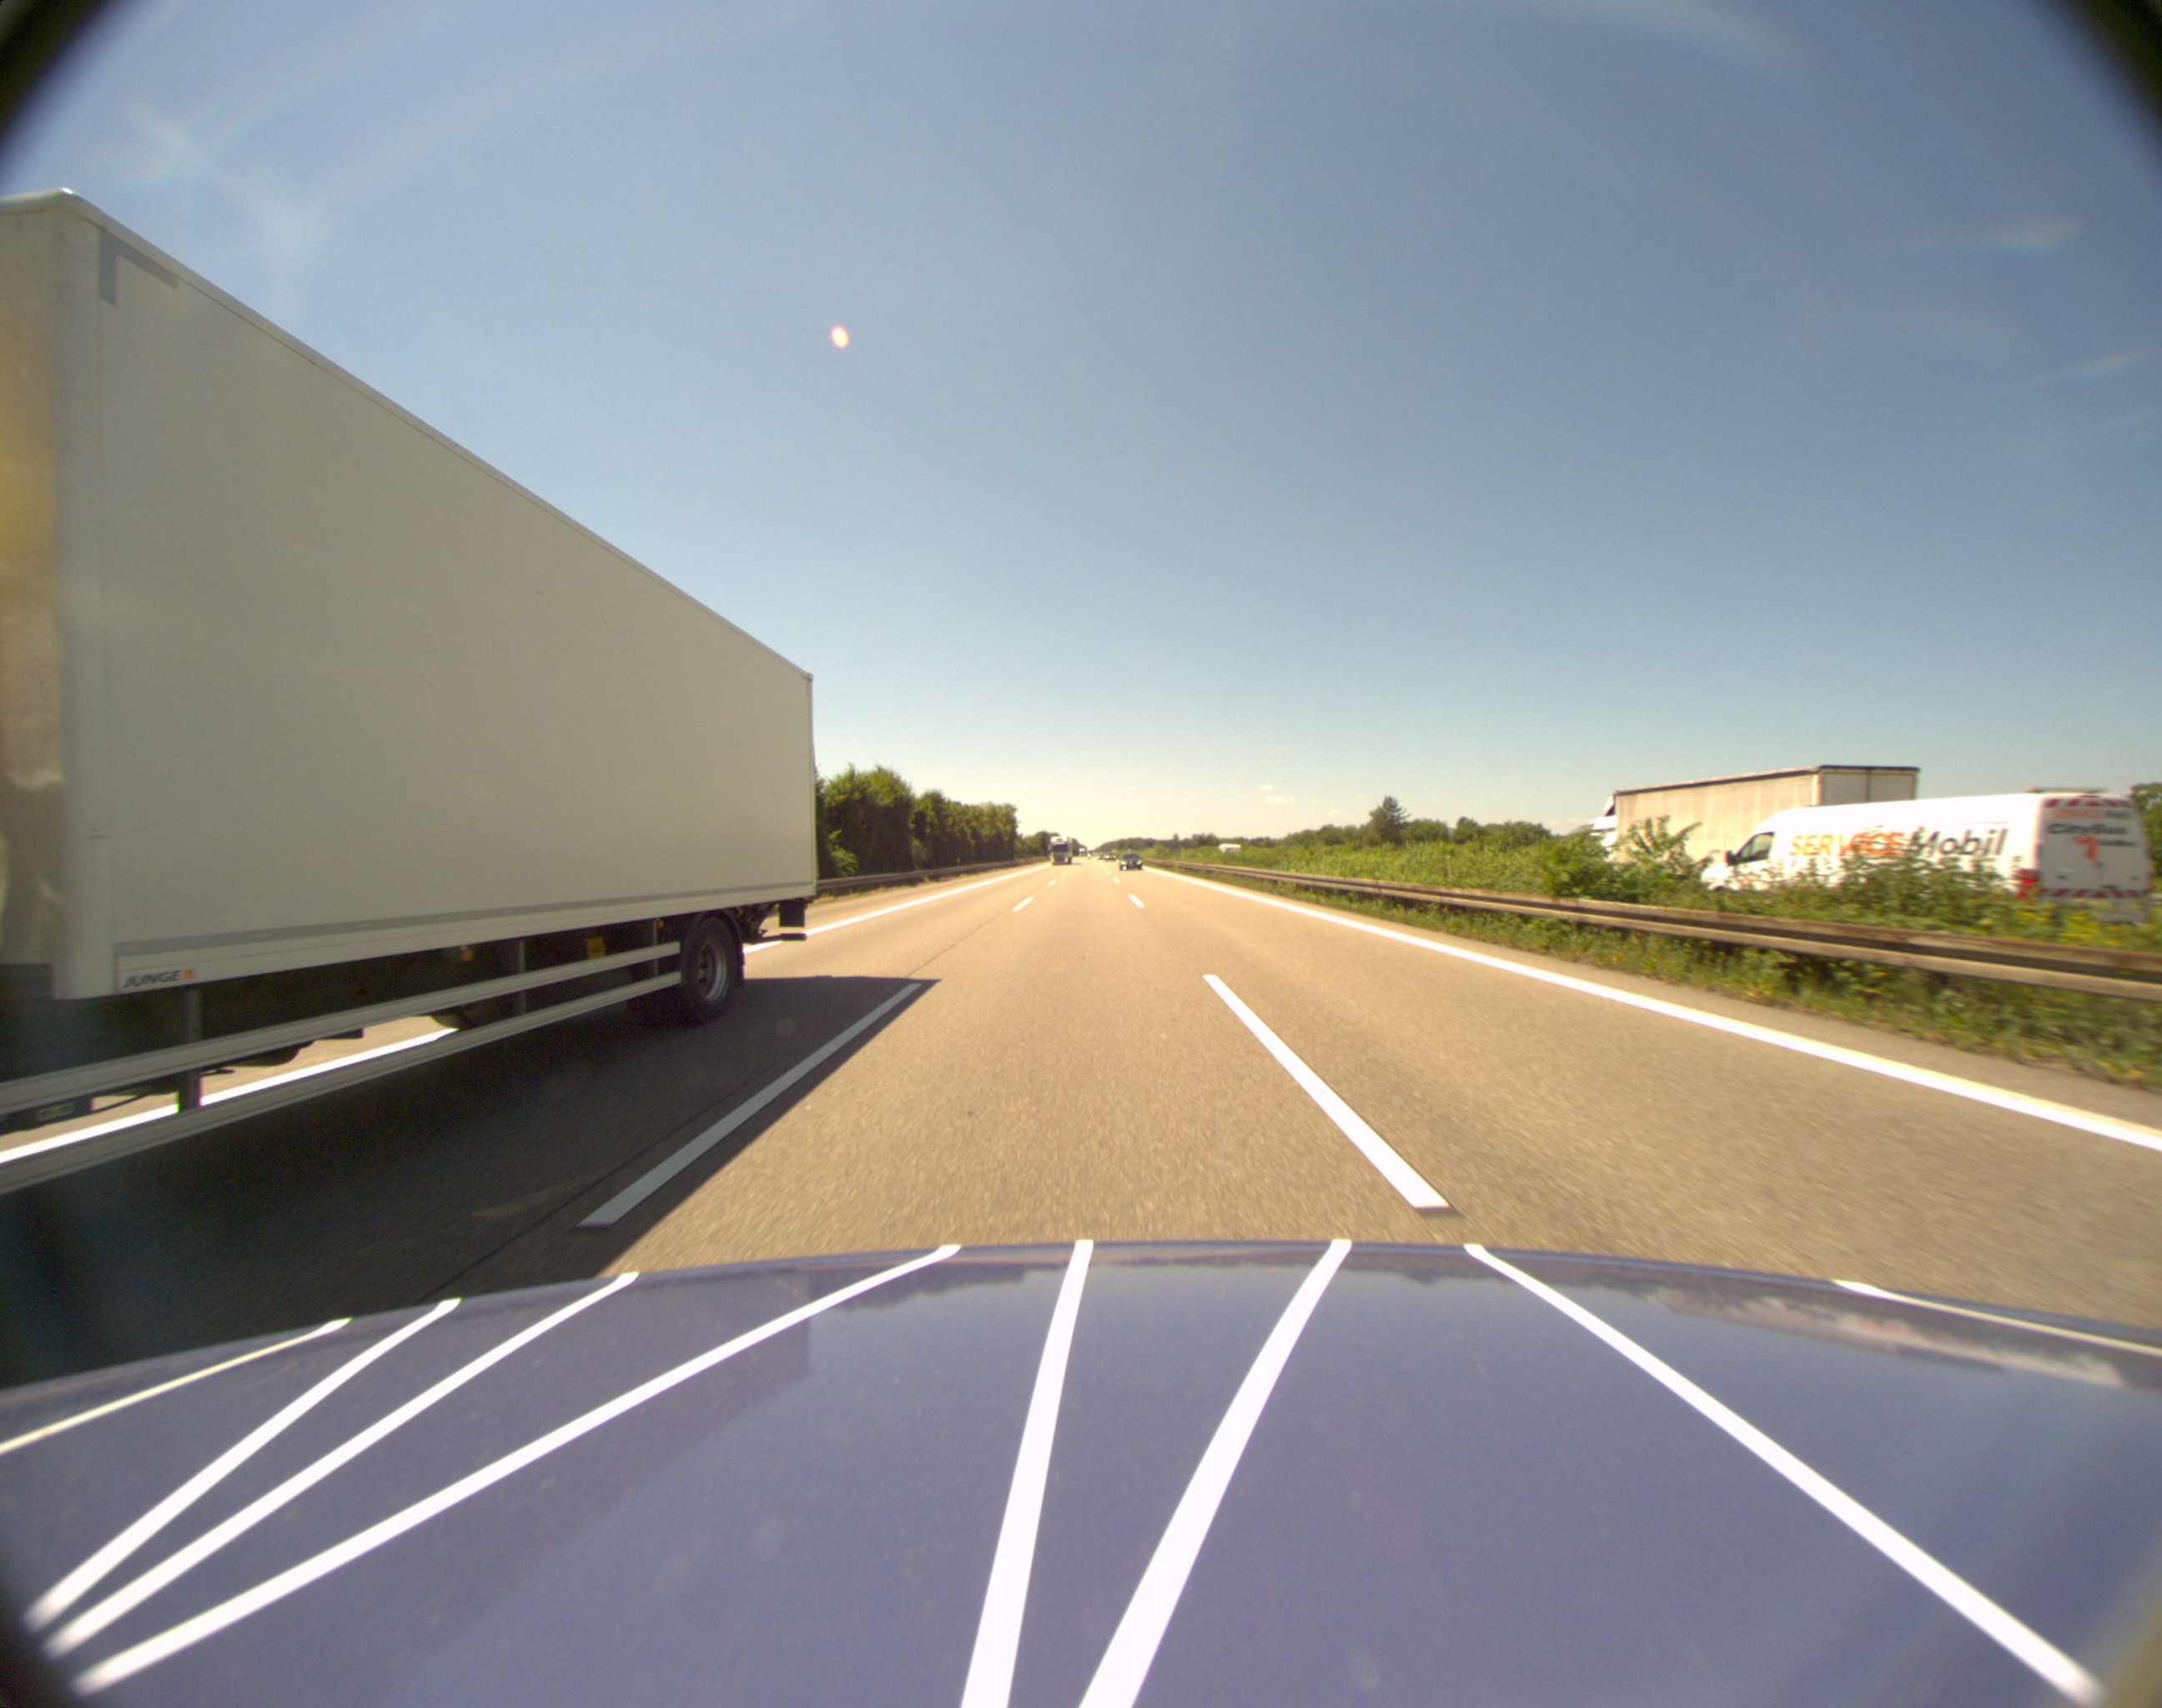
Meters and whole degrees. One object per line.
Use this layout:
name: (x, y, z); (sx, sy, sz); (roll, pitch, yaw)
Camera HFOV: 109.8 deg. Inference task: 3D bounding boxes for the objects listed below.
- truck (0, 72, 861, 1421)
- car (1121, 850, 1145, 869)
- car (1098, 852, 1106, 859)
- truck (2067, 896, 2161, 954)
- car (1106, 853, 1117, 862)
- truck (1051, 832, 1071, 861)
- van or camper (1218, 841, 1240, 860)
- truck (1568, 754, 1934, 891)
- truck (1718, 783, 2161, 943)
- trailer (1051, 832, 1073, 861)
truck: (-4.760, -0.341, 5.484); (2.941, 4.175, 10.681); (-2, 0, 1)
car: (4.442, 0.468, 65.088); (1.811, 1.459, 4.000); (-2, 0, 1)
car: (4.835, 0.273, 173.947); (1.811, 1.417, 4.000); (-2, 0, 1)
truck: (16.033, 1.000, 8.902); (2.275, 0.682, 5.219); (-2, 0, 2)
car: (5.345, 0.647, 134.956); (1.811, 1.417, 4.000); (-2, 0, 1)
truck: (-2.890, -1.055, 109.675); (2.476, 4.038, 6.320); (-2, 0, 1)
van or camper: (21.843, -0.516, 112.596); (1.998, 2.530, 6.298); (-2, 0, 1)
truck: (21.066, -0.856, 25.348); (2.884, 3.477, 10.735); (-2, 0, 2)
truck: (16.081, 0.114, 14.841); (1.998, 2.385, 6.419); (-2, 0, 2)
trailer: (-2.792, -1.085, 115.831); (2.476, 4.038, 13.880); (-2, 0, 1)
